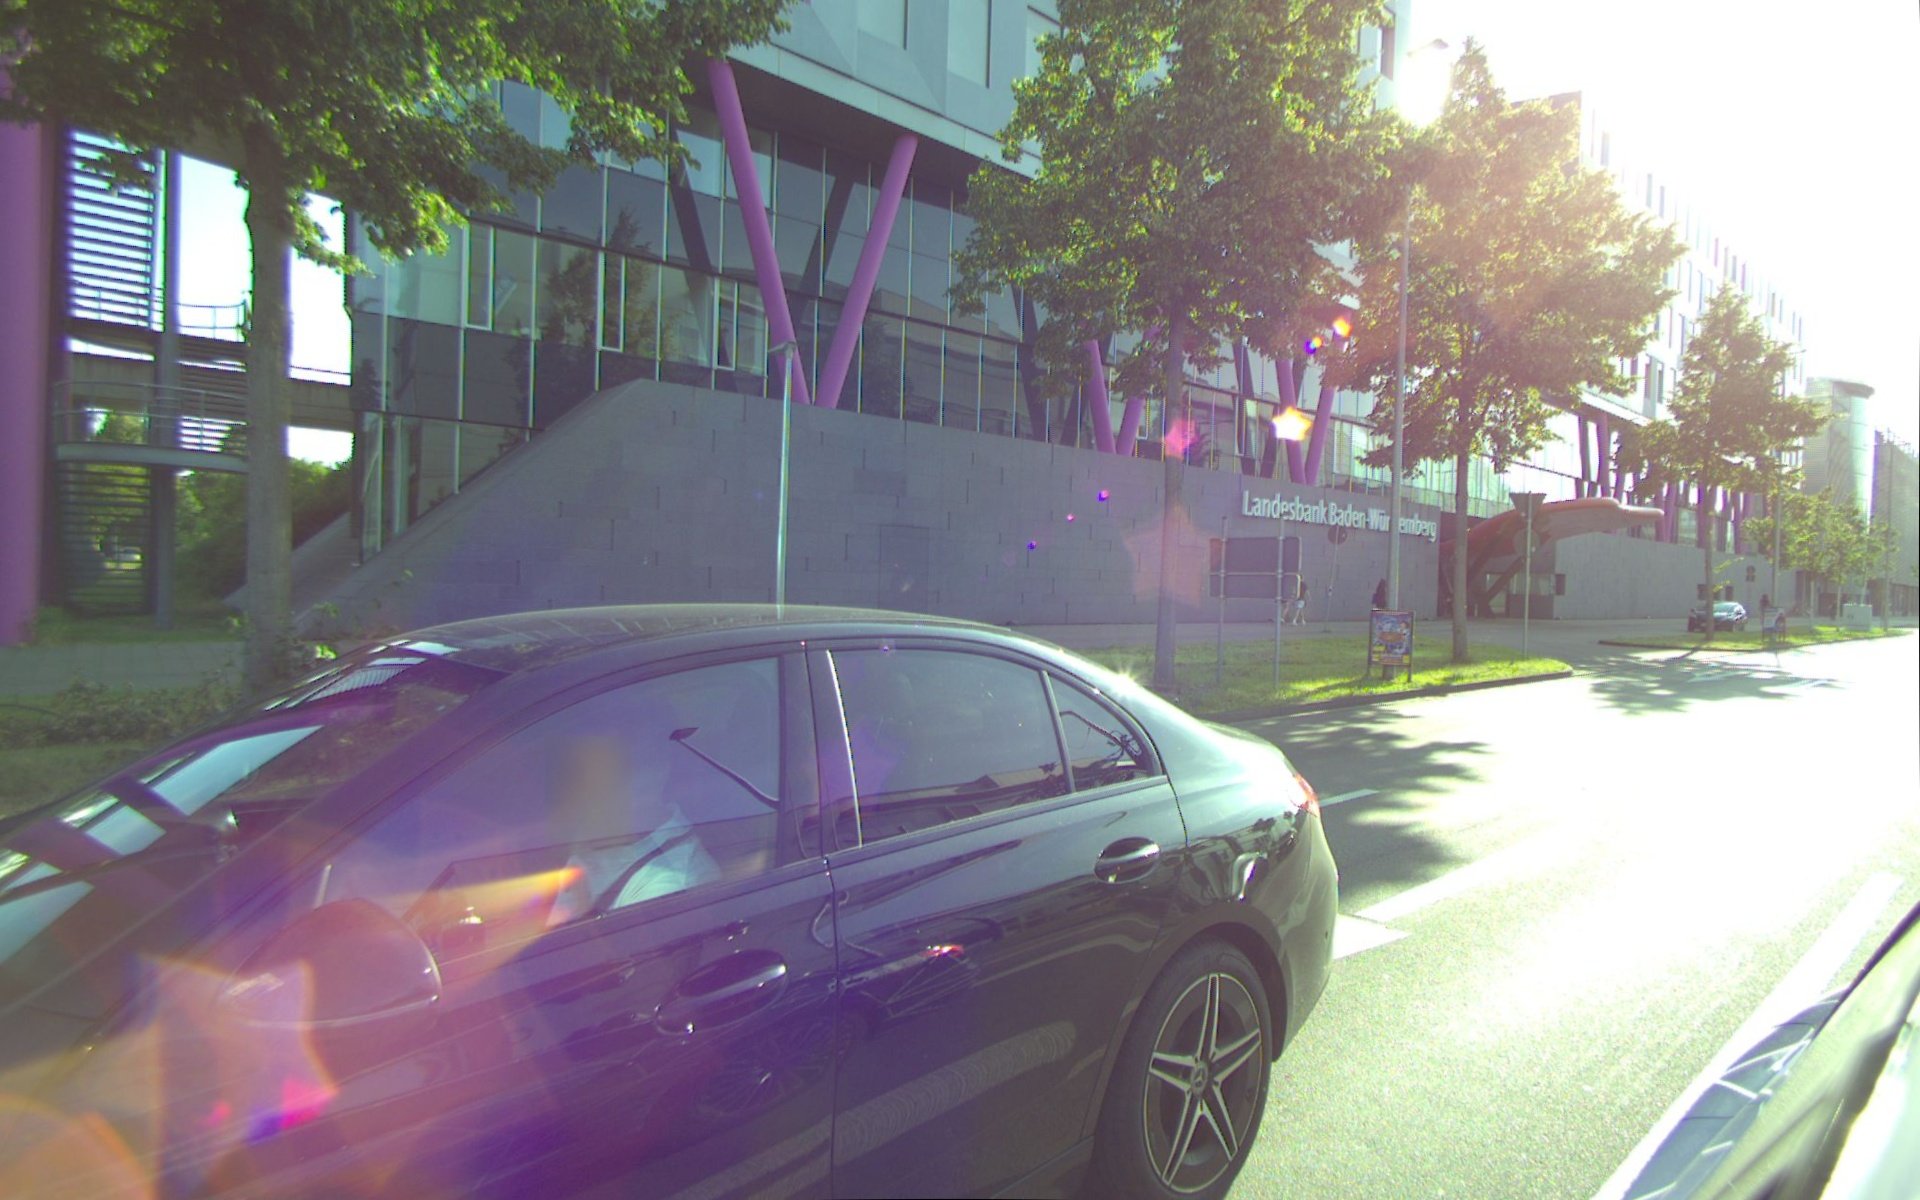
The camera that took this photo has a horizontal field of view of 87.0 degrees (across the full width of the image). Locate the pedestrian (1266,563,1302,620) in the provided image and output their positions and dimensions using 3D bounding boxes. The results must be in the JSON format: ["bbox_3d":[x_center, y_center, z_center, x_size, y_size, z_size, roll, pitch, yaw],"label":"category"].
[{"bbox_3d":[10.927,-0.290,34.132,0.838,1.847,0.769,1,3,-41],"label":"pedestrian"}]

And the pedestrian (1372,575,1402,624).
[{"bbox_3d":[14.637,-0.025,34.689,0.724,1.659,0.695,-2,2,-41],"label":"pedestrian"}]

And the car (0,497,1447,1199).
[{"bbox_3d":[-0.915,0.626,2.235,4.473,1.468,1.843,1,0,-39],"label":"car"}]

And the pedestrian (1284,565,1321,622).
[{"bbox_3d":[11.385,-0.223,33.630,0.829,1.815,0.756,1,3,-41],"label":"pedestrian"}]

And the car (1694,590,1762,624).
[{"bbox_3d":[34.840,0.314,45.898,4.126,1.407,1.694,1,1,-42],"label":"car"}]

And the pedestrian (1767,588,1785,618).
[{"bbox_3d":[50.768,0.185,62.963,0.758,1.808,0.725,0,1,-41],"label":"pedestrian"}]
